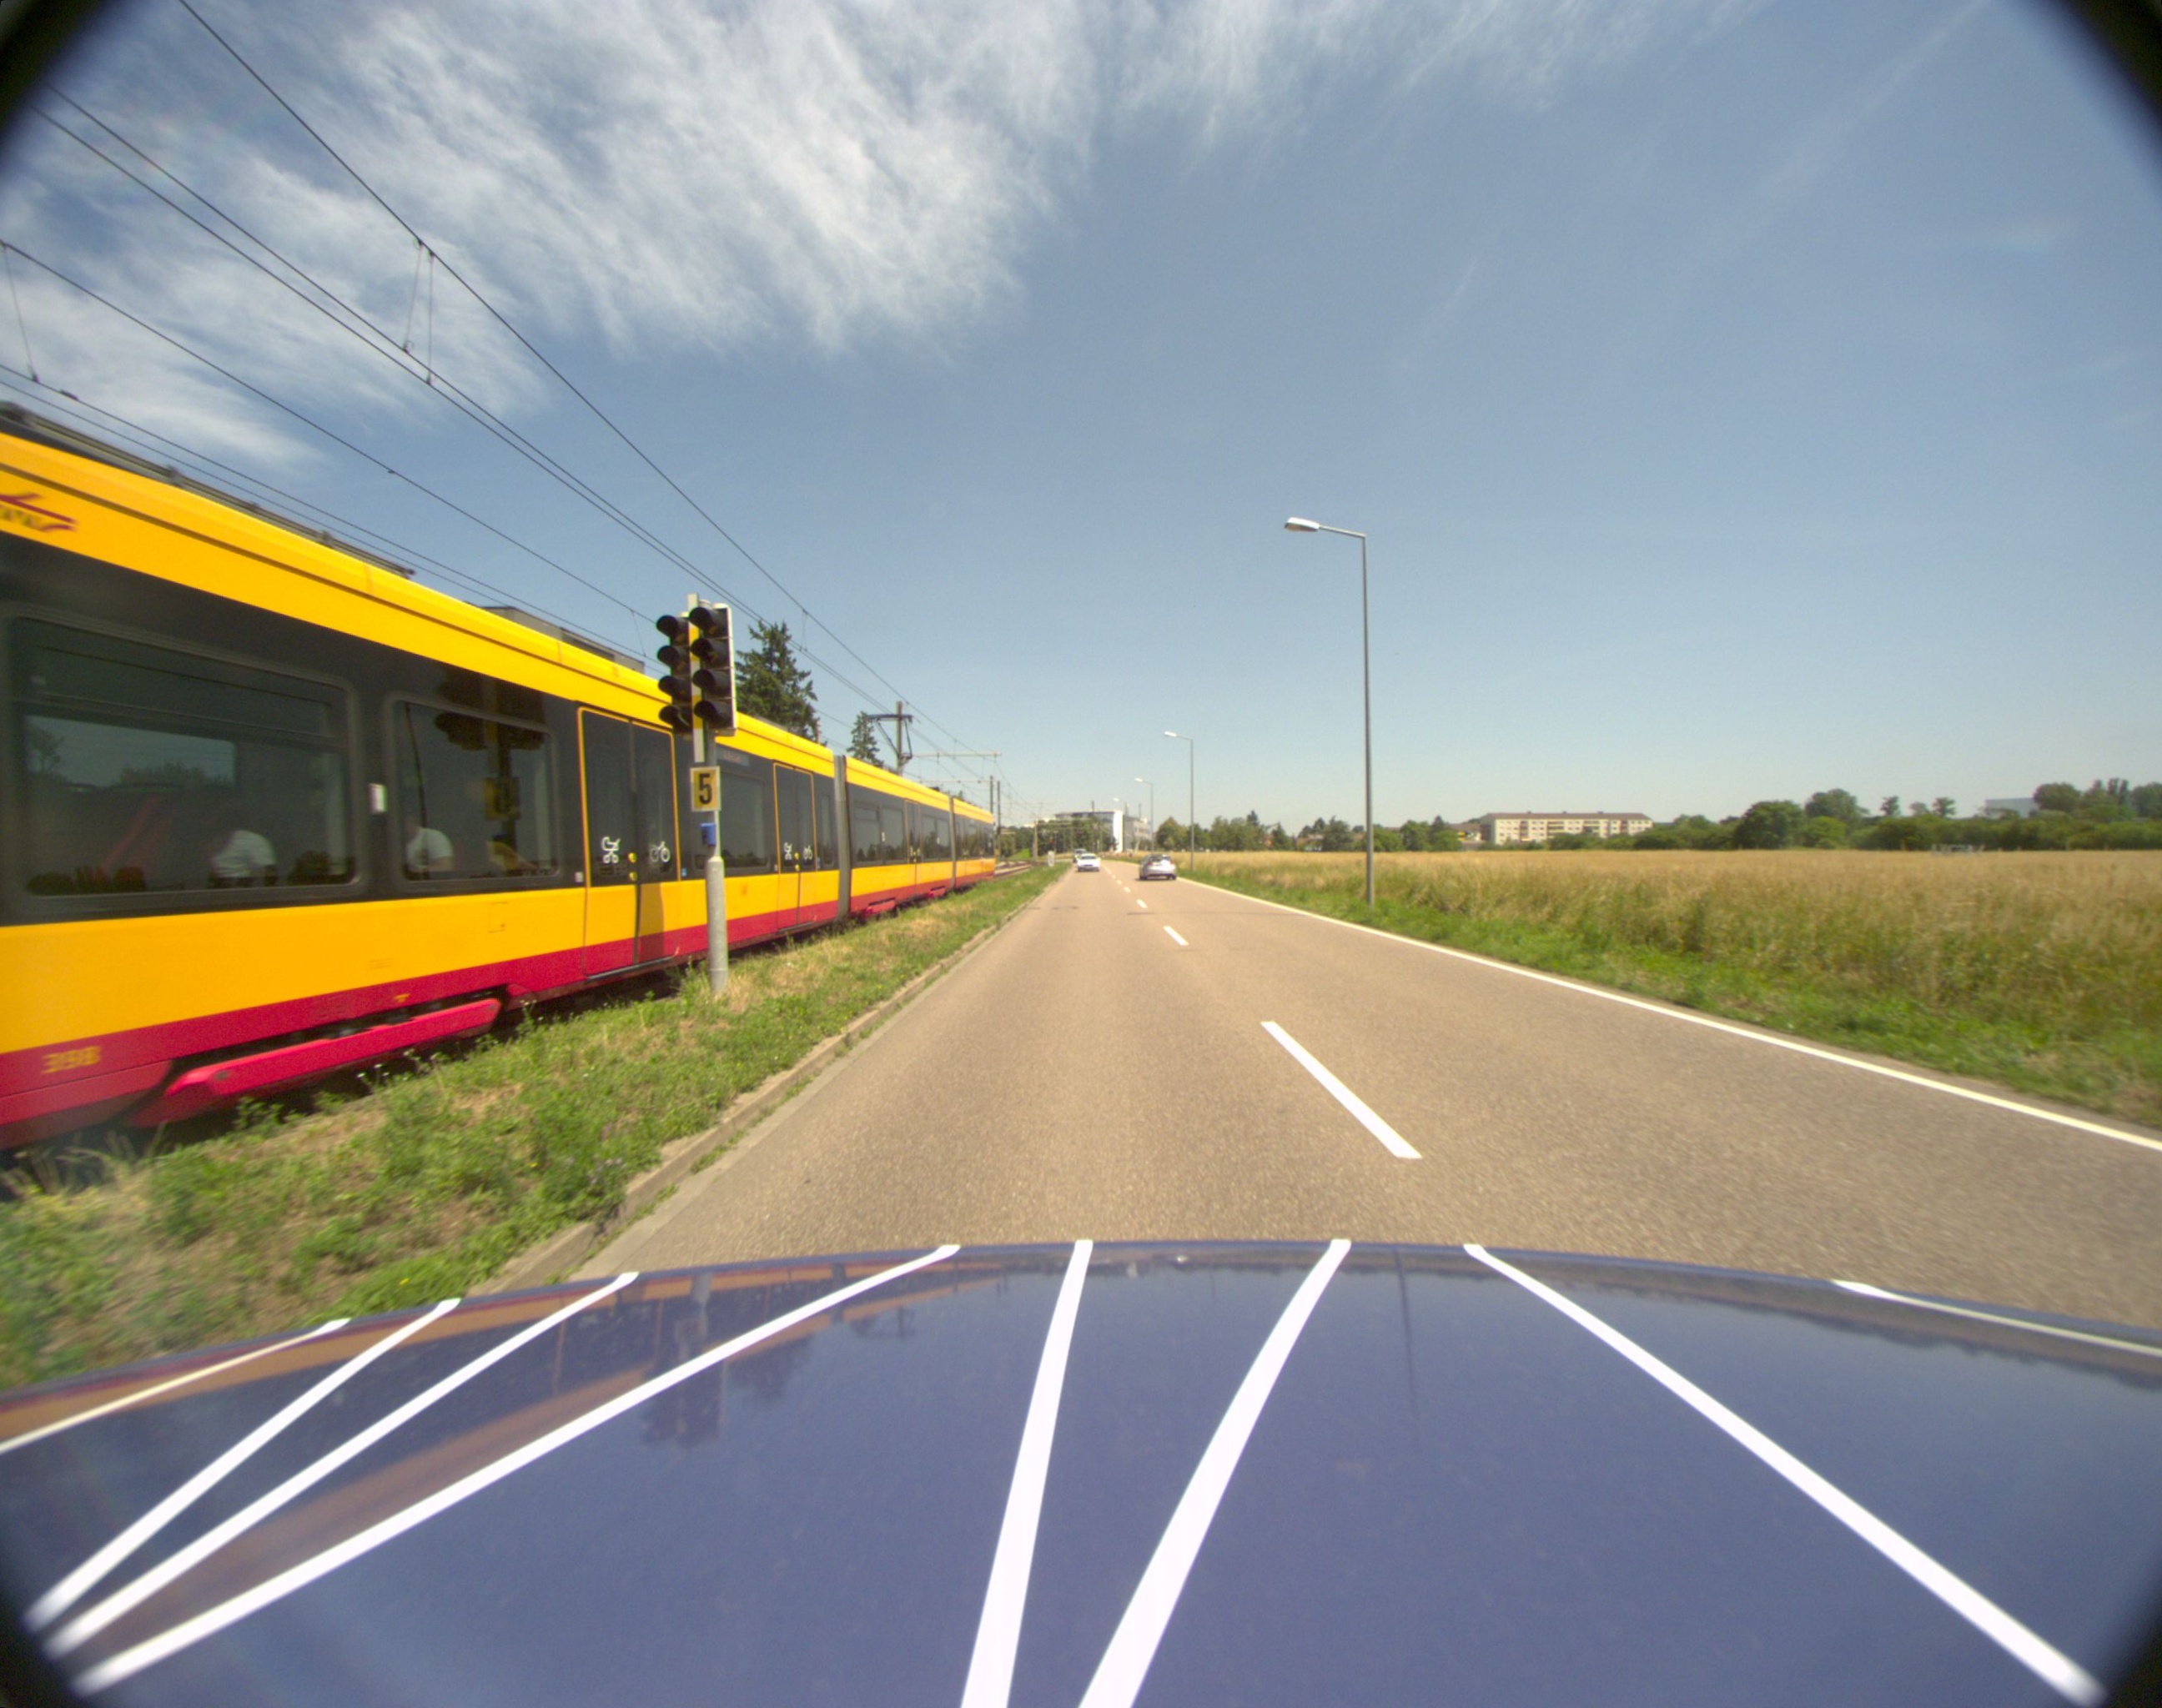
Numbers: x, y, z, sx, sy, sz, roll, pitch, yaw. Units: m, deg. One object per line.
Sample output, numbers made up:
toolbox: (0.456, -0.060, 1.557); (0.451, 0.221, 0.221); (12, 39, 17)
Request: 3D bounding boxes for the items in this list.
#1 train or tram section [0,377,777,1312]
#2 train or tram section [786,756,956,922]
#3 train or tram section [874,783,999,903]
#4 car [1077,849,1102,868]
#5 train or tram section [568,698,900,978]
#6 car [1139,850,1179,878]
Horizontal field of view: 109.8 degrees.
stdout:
train or tram section: (-5.605, -0.072, 4.687); (2.772, 3.668, 11.183); (0, 1, 1)
train or tram section: (-5.229, -0.403, 20.313); (2.567, 3.693, 6.728); (0, 1, 1)
train or tram section: (-5.134, -0.482, 29.497); (2.435, 3.745, 11.556); (0, 1, 1)
car: (0.759, 0.381, 63.251); (1.771, 1.434, 4.130); (0, 1, 5)
train or tram section: (-5.449, -0.279, 13.567); (2.708, 3.745, 6.728); (0, 1, 1)
car: (4.331, 0.532, 42.690); (1.839, 1.458, 4.678); (-1, 0, 1)
